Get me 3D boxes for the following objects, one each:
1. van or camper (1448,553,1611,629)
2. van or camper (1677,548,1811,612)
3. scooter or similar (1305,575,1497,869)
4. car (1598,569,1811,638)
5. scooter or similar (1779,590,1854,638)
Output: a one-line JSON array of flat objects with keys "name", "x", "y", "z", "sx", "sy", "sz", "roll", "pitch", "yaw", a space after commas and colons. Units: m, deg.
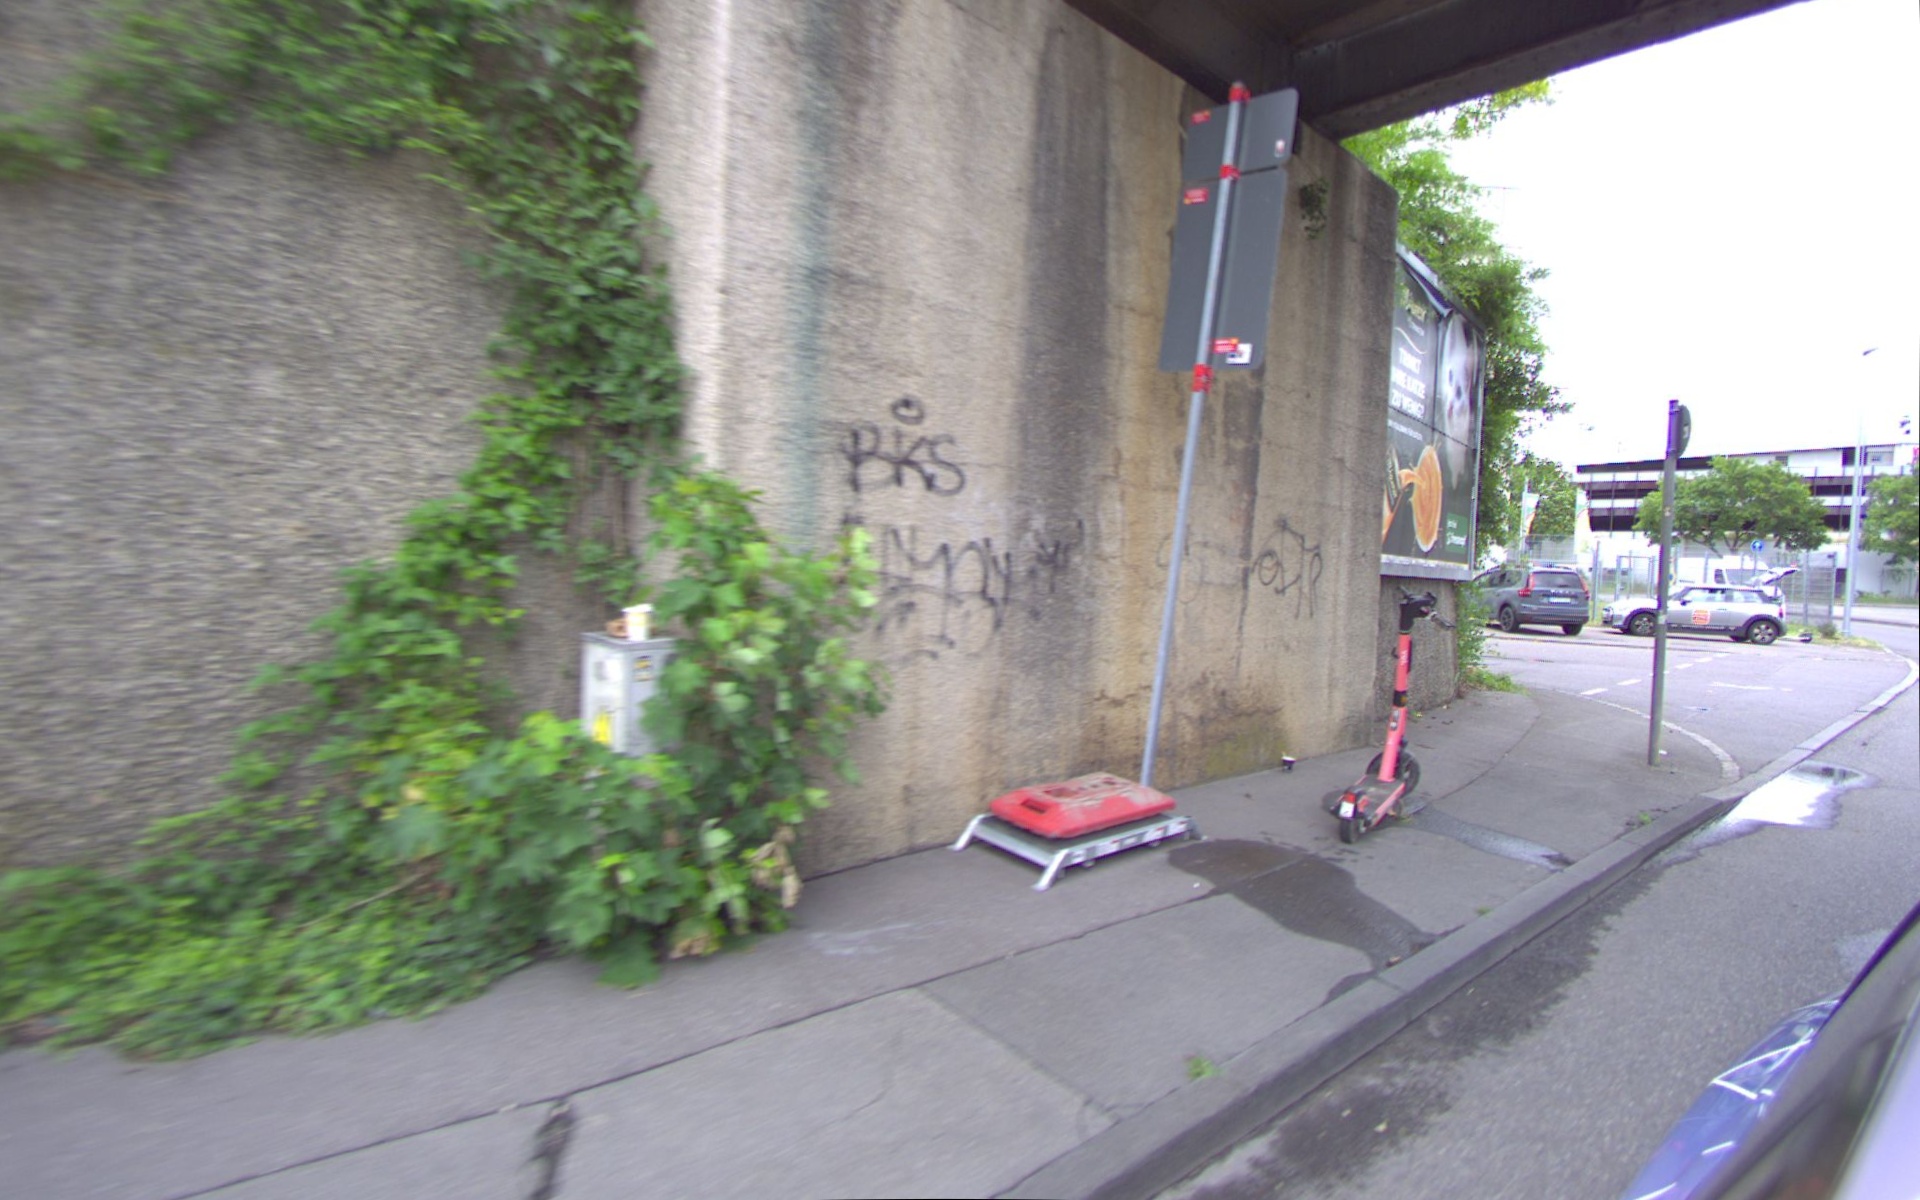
[{"name": "van or camper", "x": 14.402, "y": -0.307, "z": 25.932, "sx": 1.800, "sy": 1.715, "sz": 4.504, "roll": 1, "pitch": 3, "yaw": 3}, {"name": "van or camper", "x": 34.322, "y": -0.988, "z": 44.604, "sx": 2.239, "sy": 2.588, "sz": 6.086, "roll": 2, "pitch": 3, "yaw": 13}, {"name": "scooter or similar", "x": 2.350, "y": 0.524, "z": 5.287, "sx": 0.502, "sy": 1.250, "sz": 1.650, "roll": 8, "pitch": 6, "yaw": 34}, {"name": "car", "x": 18.831, "y": 0.041, "z": 25.833, "sx": 3.975, "sy": 1.449, "sz": 1.773, "roll": 4, "pitch": 3, "yaw": 23}, {"name": "scooter or similar", "x": 23.047, "y": 0.360, "z": 27.251, "sx": 0.472, "sy": 1.146, "sz": 1.418, "roll": -1, "pitch": 5, "yaw": -42}]
